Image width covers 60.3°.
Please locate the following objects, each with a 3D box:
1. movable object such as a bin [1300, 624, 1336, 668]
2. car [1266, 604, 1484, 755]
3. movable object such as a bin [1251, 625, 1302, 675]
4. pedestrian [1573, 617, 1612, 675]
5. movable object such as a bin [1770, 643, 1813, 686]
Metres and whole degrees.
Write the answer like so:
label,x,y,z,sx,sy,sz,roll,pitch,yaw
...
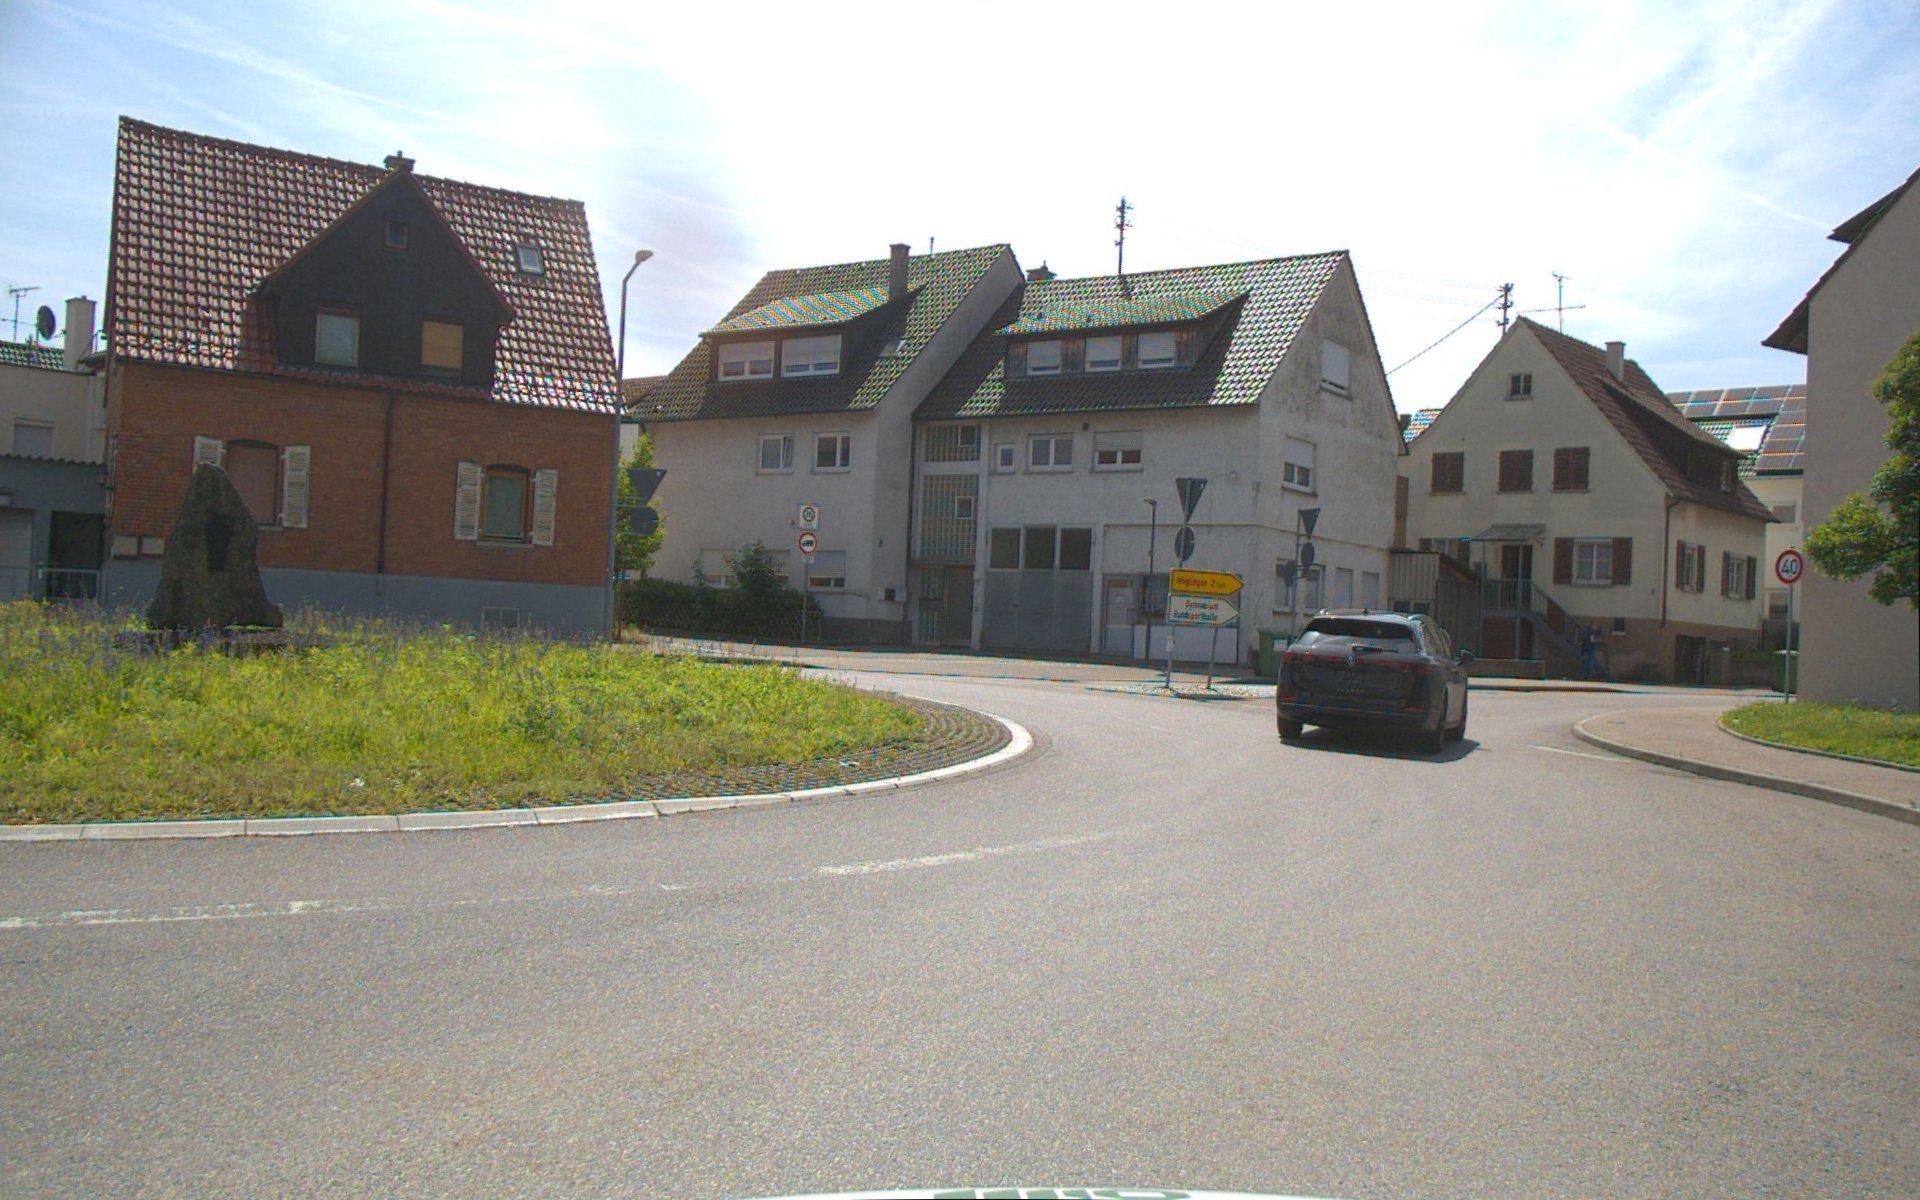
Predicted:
label,x,y,z,sx,sy,sz,roll,pitch,yaw
movable object such as a bin,9.164,1.176,42.338,0.671,1.105,0.643,2,0,34
car,4.911,0.821,19.105,1.804,1.445,4.682,2,0,22
movable object such as a bin,7.052,1.116,36.885,0.812,1.063,0.807,2,0,-19
pedestrian,17.726,1.289,46.354,0.621,1.601,0.769,2,0,-38
movable object such as a bin,22.019,1.706,43.780,0.643,1.076,0.785,2,-1,-33
